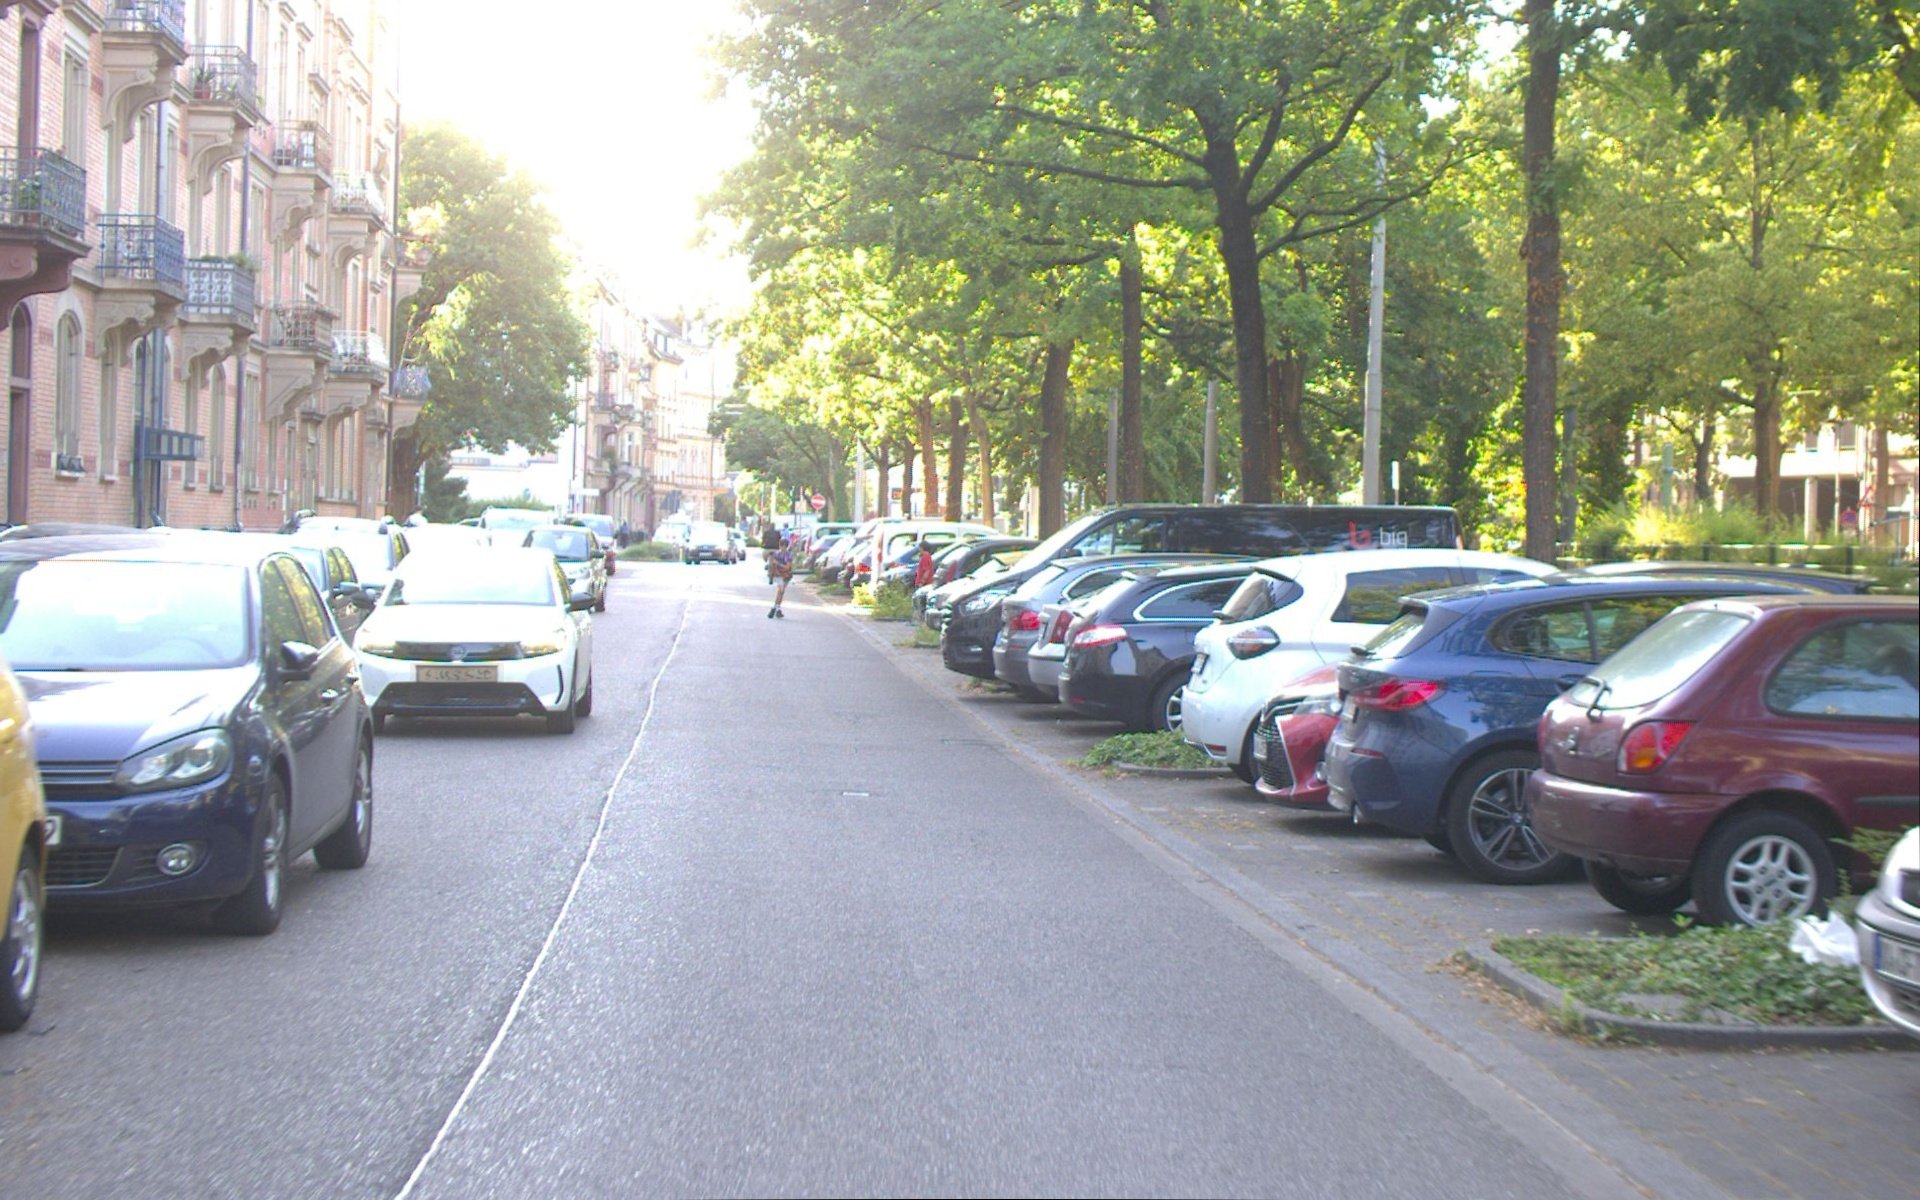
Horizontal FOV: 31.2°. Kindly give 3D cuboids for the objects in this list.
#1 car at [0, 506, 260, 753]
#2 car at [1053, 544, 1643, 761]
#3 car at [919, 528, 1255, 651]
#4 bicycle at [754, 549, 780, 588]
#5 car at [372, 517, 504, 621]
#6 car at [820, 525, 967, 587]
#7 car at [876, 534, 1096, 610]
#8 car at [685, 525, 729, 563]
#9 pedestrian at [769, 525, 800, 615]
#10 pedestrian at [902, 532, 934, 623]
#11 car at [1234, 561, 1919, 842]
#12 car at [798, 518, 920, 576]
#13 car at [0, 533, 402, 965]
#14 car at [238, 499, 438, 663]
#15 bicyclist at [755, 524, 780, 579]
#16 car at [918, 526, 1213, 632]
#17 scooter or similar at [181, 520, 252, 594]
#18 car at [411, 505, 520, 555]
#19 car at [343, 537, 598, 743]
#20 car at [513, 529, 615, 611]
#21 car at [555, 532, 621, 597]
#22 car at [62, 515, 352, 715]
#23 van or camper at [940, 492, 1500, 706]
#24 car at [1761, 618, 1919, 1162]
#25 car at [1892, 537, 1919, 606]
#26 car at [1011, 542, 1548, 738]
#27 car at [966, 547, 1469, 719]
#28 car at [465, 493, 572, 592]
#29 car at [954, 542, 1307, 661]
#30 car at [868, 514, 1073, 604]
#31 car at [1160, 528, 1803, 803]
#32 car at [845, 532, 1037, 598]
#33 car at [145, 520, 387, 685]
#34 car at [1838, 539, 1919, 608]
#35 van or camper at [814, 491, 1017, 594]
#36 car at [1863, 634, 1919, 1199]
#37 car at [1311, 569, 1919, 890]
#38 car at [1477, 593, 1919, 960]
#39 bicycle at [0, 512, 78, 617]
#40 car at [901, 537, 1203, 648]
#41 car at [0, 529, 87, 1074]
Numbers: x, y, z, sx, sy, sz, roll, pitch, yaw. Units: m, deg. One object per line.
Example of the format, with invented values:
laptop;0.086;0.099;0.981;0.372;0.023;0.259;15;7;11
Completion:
car;-6.154;0.146;24.494;1.668;1.503;4.001;5;1;-4
car;2.940;0.397;26.707;4.399;1.572;1.664;1;0;1
car;1.701;-0.146;46.983;4.398;1.585;1.838;1;0;-4
bicycle;-5.682;-0.922;101.022;0.641;1.096;1.944;3;-1;-5
car;-8.209;-0.524;54.319;1.753;1.459;4.001;4;1;-6
car;-1.931;-1.255;99.001;3.986;1.543;1.859;3;-1;-6
car;0.484;-0.557;66.653;4.080;1.437;1.762;0;1;-6
car;-9.873;-2.190;133.854;1.668;1.459;4.001;0;1;-5
pedestrian;-3.161;-0.539;61.827;0.380;1.579;0.518;2;3;16
pedestrian;-0.718;-0.382;58.657;0.380;1.511;0.518;2;3;16
car;3.523;0.552;19.368;3.782;1.468;1.664;1;0;-1
car;-3.517;-1.843;119.227;3.986;1.788;1.859;3;-1;-6
car;-3.369;0.476;13.849;1.739;1.474;4.001;1;1;-2
car;-7.071;-0.250;39.415;1.751;1.700;4.201;3;1;-4
bicyclist;-5.646;-1.430;100.979;0.627;1.568;0.802;3;-1;-5
car;1.644;-0.331;54.369;4.398;1.585;1.838;1;0;-8
scooter or similar;-12.990;-0.736;60.156;0.783;1.218;2.704;3;-1;-4
car;-19.356;-2.728;134.647;3.986;1.700;2.000;3;-1;-2
car;-3.857;0.261;27.640;1.668;1.426;4.001;-1;2;-3
car;-7.227;-0.565;62.883;1.504;1.430;2.753;1;1;1
car;-12.380;-1.203;114.726;1.957;2.011;4.268;3;1;-4
car;-6.389;0.078;29.593;1.668;1.466;4.284;5;1;-3
van or camper;2.533;-0.035;34.597;5.413;2.020;2.030;1;2;-1
car;4.324;0.773;9.476;3.781;1.397;1.664;1;0;-4
car;25.826;-0.641;87.495;3.990;1.678;1.998;2;-1;16
car;2.677;0.341;29.472;4.399;1.572;1.664;1;0;-1
car;2.355;0.308;32.065;4.398;1.496;1.838;1;0;-6
car;-9.443;-1.200;73.897;1.993;1.914;5.041;3;-1;-5
car;2.149;0.012;44.249;4.399;1.435;1.838;1;0;-1
car;0.203;-0.877;72.101;4.219;1.857;1.762;0;1;-3
car;3.265;0.409;21.972;3.781;1.640;1.664;1;0;-3
car;-0.409;-0.779;76.526;4.220;1.448;1.649;0;1;1
car;-6.823;-0.016;34.136;1.615;1.447;4.000;4;1;-2
car;25.154;-0.644;90.251;3.990;1.678;1.998;2;-1;16
van or camper;-1.171;-1.464;89.028;4.980;2.369;2.185;3;-1;-5
car;4.002;0.796;7.035;3.781;1.397;1.827;1;0;-2
car;3.669;0.608;16.674;3.782;1.442;1.664;1;0;2
car;4.227;0.700;14.189;3.781;1.397;1.767;1;0;-7
bicycle;-11.483;-0.454;42.193;0.736;1.202;2.514;3;2;-3
car;1.342;-0.118;51.750;4.399;1.585;1.838;1;0;-3
car;-3.464;0.558;8.847;1.702;1.520;3.774;1;1;-4
